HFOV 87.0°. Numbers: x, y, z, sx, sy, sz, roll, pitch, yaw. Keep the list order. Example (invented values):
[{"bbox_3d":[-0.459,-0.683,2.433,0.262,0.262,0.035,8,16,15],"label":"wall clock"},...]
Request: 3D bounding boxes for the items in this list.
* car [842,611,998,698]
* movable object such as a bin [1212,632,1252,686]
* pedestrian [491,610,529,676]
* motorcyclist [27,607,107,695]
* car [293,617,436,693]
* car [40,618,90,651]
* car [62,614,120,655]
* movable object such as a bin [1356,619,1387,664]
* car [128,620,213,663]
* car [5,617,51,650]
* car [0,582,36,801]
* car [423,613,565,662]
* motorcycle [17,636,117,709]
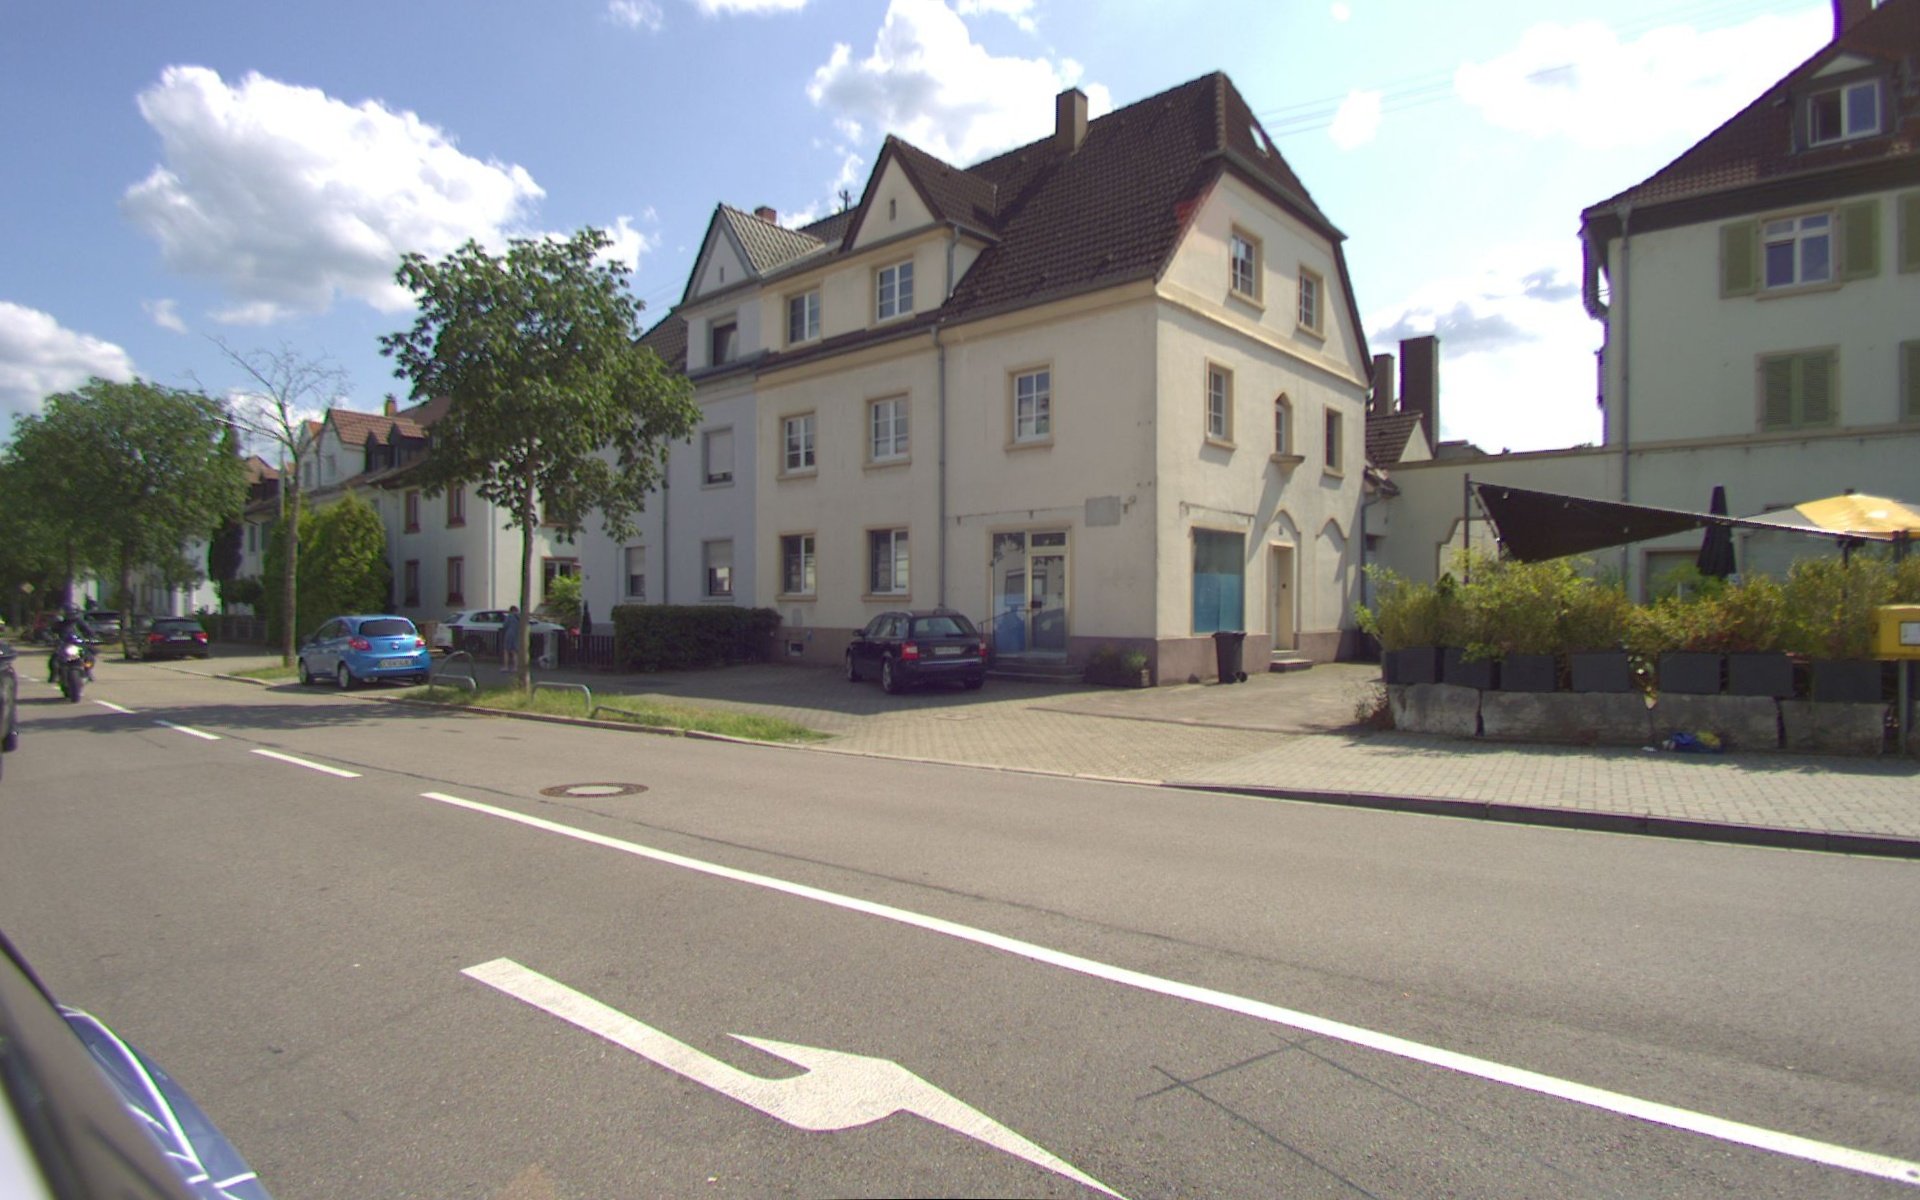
[{"bbox_3d":[-0.862,0.920,18.537,1.732,1.397,4.115,0,-1,-19],"label":"car"},{"bbox_3d":[5.120,1.106,19.030,0.510,0.979,0.607,-1,-2,41],"label":"movable object such as a bin"},{"bbox_3d":[-10.678,1.008,24.027,0.618,1.547,0.623,-1,-2,41],"label":"pedestrian"},{"bbox_3d":[-15.127,0.861,17.140,1.098,1.409,0.815,-4,-2,38],"label":"motorcyclist"},{"bbox_3d":[-12.510,1.100,21.217,3.153,1.473,1.687,-1,-1,41],"label":"car"},{"bbox_3d":[-40.868,1.561,46.198,1.601,1.436,3.004,0,-1,-43],"label":"car"},{"bbox_3d":[-36.303,1.415,42.274,3.575,1.667,1.541,-1,-2,45],"label":"car"},{"bbox_3d":[9.997,0.997,24.570,0.510,1.053,0.607,-1,-2,41],"label":"movable object such as a bin"},{"bbox_3d":[-25.832,1.325,33.072,3.919,1.306,1.686,-1,-1,45],"label":"car"},{"bbox_3d":[-47.847,1.692,51.938,3.252,1.667,1.541,-1,-2,45],"label":"car"},{"bbox_3d":[-10.036,0.768,9.330,4.873,1.777,1.753,-1,-1,42],"label":"car"},{"bbox_3d":[-14.838,1.162,32.338,1.711,1.465,3.753,-1,-1,44],"label":"car"},{"bbox_3d":[-15.113,1.190,17.114,2.355,1.136,0.833,-1,-1,38],"label":"motorcycle"}]
